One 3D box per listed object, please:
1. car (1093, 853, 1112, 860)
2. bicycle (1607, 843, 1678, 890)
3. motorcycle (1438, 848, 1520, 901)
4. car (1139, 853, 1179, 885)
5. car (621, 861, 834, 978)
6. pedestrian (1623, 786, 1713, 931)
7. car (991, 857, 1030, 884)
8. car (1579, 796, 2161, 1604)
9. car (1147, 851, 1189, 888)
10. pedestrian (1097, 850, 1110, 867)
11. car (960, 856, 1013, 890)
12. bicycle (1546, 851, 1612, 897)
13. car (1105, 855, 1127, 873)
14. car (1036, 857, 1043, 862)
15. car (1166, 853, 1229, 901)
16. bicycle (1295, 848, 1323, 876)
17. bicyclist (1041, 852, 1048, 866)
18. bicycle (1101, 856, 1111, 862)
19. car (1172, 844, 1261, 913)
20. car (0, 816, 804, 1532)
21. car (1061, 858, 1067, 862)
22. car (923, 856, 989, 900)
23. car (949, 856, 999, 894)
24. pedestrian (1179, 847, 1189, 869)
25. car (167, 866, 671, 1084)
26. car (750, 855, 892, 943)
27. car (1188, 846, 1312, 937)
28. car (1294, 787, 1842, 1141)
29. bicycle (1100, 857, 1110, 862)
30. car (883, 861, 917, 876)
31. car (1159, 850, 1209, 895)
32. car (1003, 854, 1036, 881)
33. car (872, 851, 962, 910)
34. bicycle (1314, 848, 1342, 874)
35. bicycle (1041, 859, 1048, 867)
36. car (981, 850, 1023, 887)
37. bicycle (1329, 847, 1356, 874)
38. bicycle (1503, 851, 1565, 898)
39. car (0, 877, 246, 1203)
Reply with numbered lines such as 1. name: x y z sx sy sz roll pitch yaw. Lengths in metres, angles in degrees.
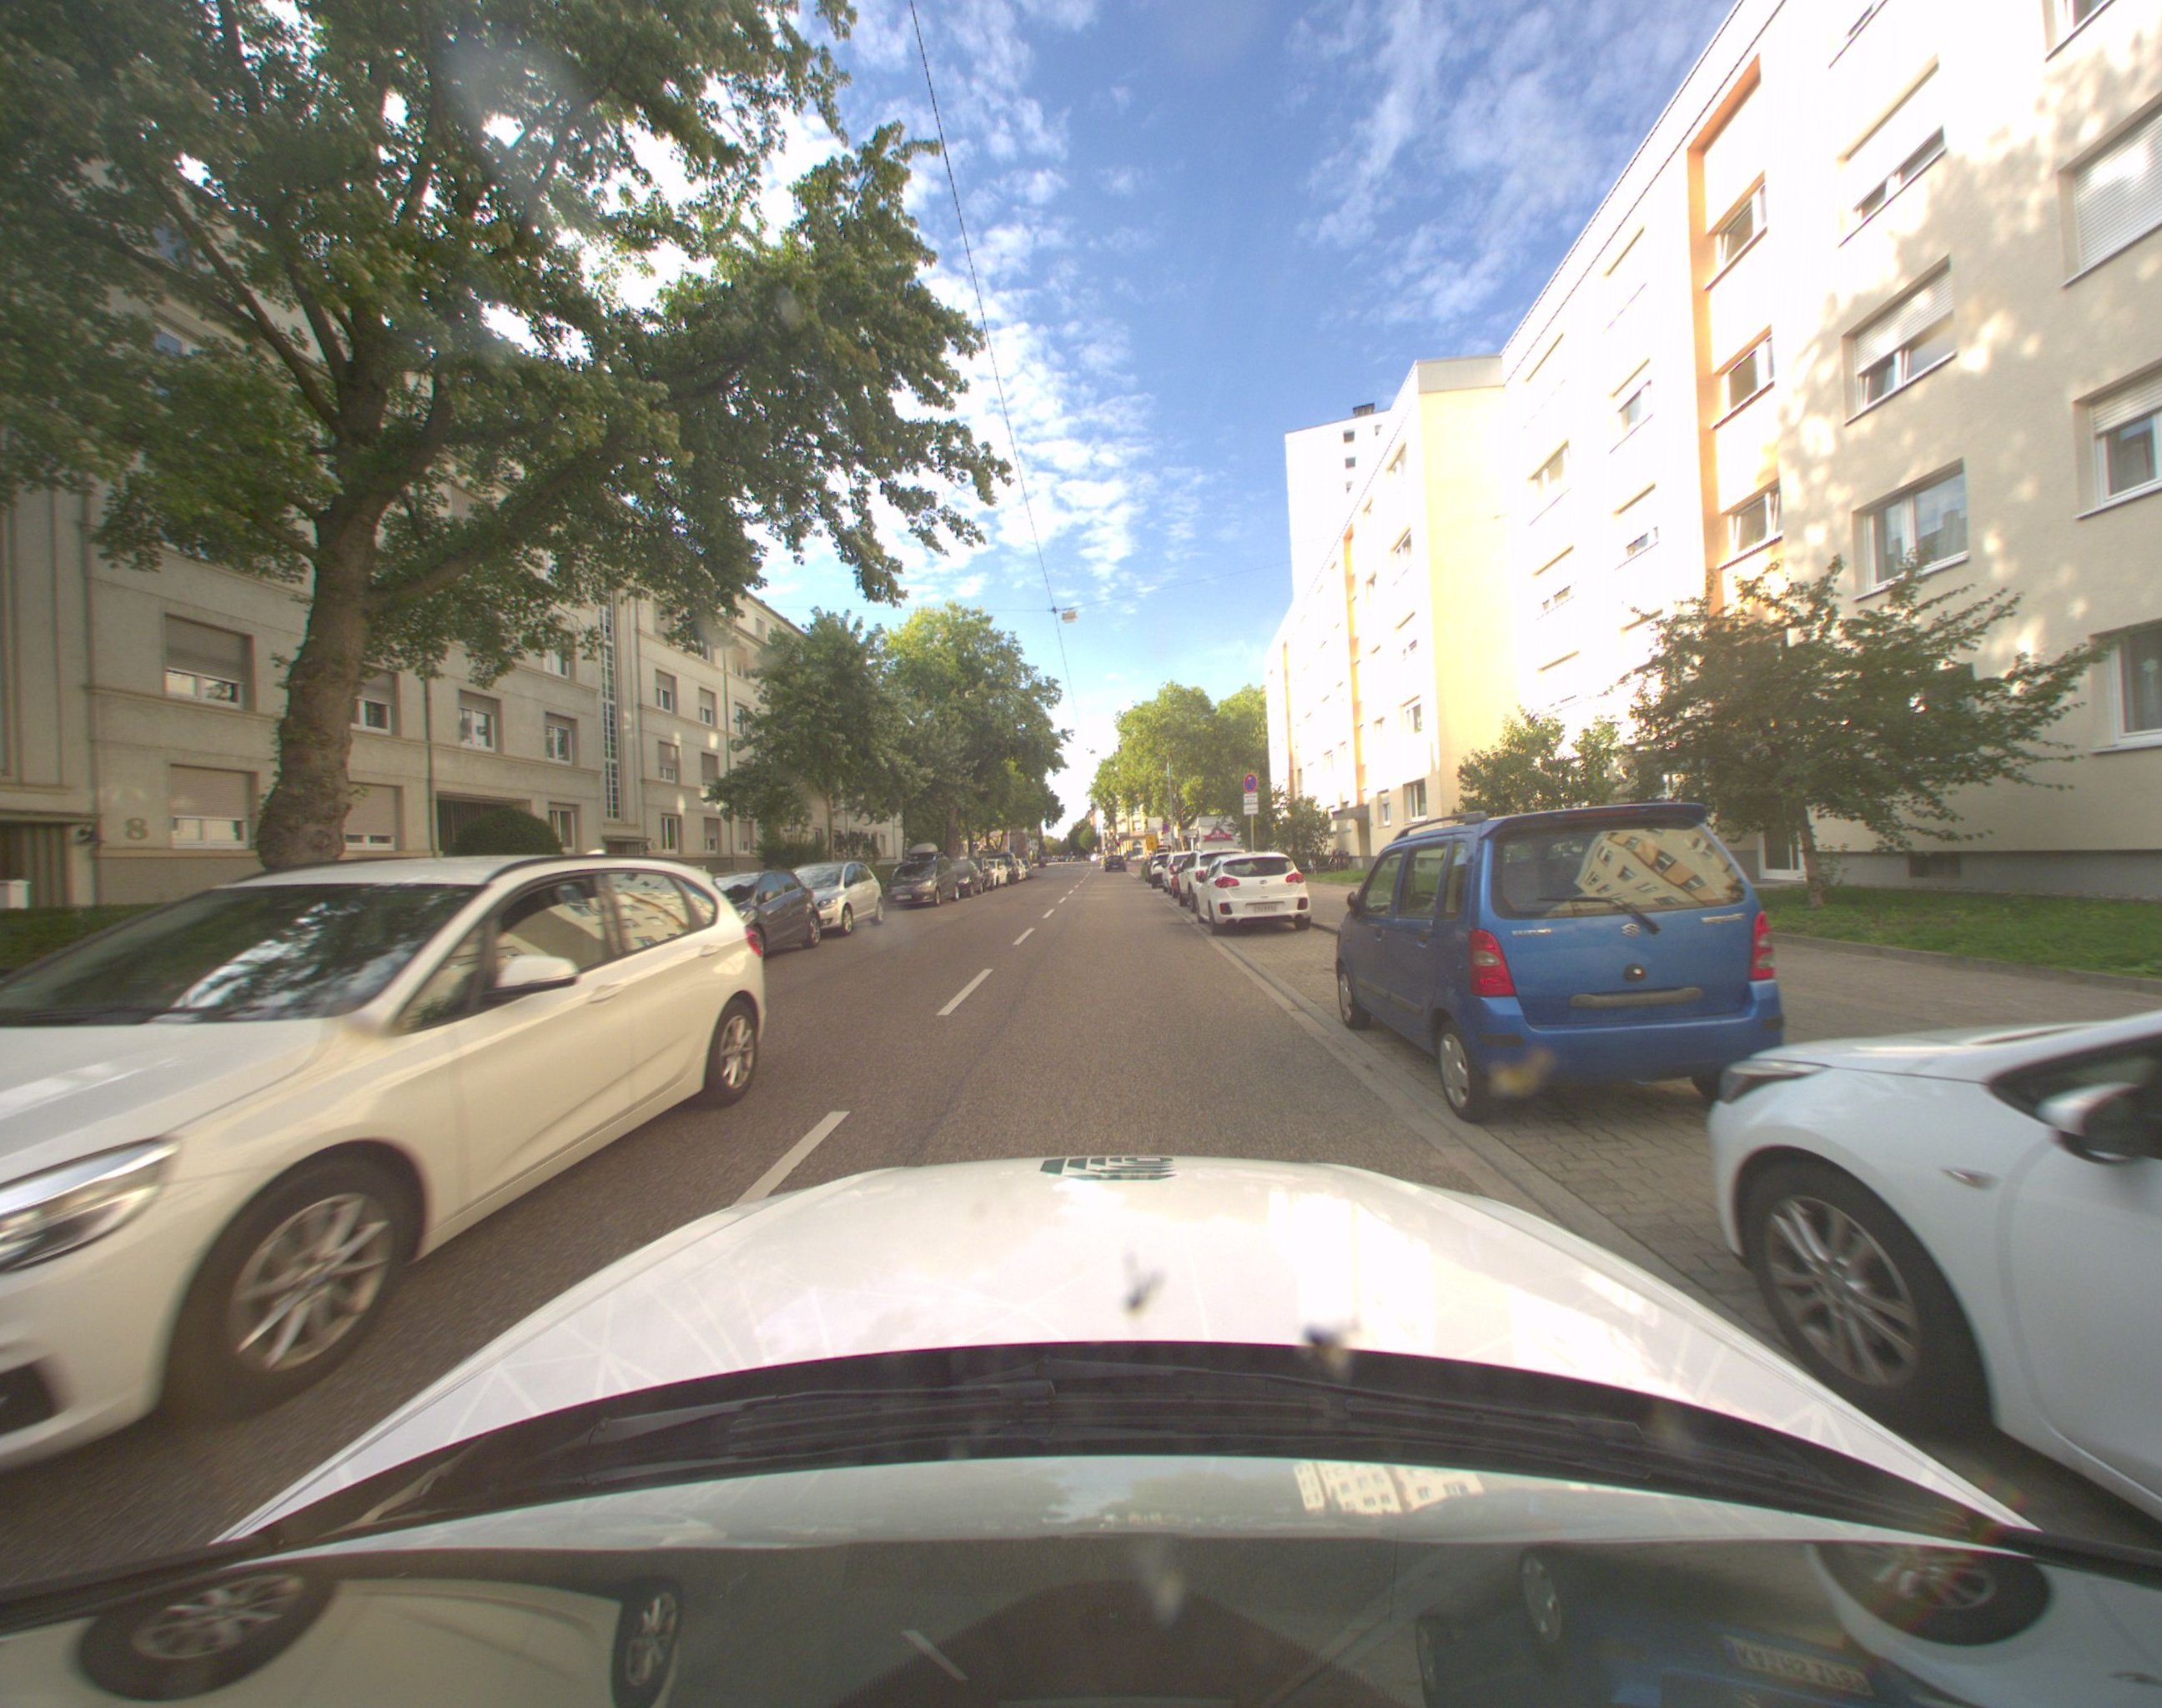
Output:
1. car: 4.710 0.610 177.627 3.981 1.420 1.996 -3 0 -5
2. bicycle: 12.043 0.260 17.503 0.457 0.927 1.517 -3 0 1
3. motorcycle: 8.766 0.427 18.048 0.628 1.044 2.394 -4 0 1
4. car: 4.056 0.736 42.848 1.684 1.528 4.238 -3 0 1
5. car: -5.458 0.918 13.190 1.609 1.468 4.013 -4 0 0
6. pedestrian: 7.280 0.053 10.131 0.539 1.721 0.773 -3 0 7
7. car: -4.424 1.015 51.689 1.792 1.493 3.806 -5 0 3
8. car: 2.766 0.578 1.060 1.722 1.461 4.118 -3 0 1
9. car: 3.857 0.657 36.648 1.682 1.528 4.243 -2 0 5
10. pedestrian: 2.412 0.497 86.670 1.076 1.753 0.914 -1 0 -15
11. car: -4.709 0.920 41.199 1.686 1.493 4.339 -4 0 5
12. bicycle: 10.608 0.413 17.409 0.457 0.927 1.517 -3 0 1
13. car: 2.944 0.835 69.380 1.745 1.413 4.001 -2 0 1
14. car: -11.357 1.470 222.117 1.545 1.230 3.588 -1 0 1
15. car: 3.787 0.721 27.033 1.510 1.398 3.676 -3 0 0
16. bicycle: 10.314 0.348 36.891 0.595 1.187 2.210 -5 0 2
17. bicyclist: -4.529 0.605 100.637 0.810 1.691 1.111 -2 0 -5
18. bicycle: 5.283 1.113 175.270 2.024 1.082 0.618 -3 0 -12
19. car: 3.544 0.615 21.952 1.722 1.580 4.118 -3 0 1
20. car: -3.017 0.713 3.778 1.851 1.528 4.014 -2 0 3
21. car: -5.240 1.910 255.119 1.772 1.230 3.588 -1 0 1
22. car: -4.886 0.919 32.274 1.693 1.487 3.851 -5 0 3
23. car: -4.792 0.908 36.809 1.546 1.520 3.019 -5 0 3
24. pedestrian: 7.830 0.293 62.002 0.650 1.645 0.743 -2 0 2
25. car: -5.862 0.915 7.976 1.595 1.418 3.963 -5 0 -1
26. car: -5.588 0.897 18.056 1.733 1.620 3.995 -4 0 1
27. car: 3.238 0.663 16.459 1.721 1.487 4.645 -3 0 3
28. car: 2.921 0.552 6.064 1.721 1.649 4.120 -3 0 3
29. bicycle: 5.262 1.174 175.901 2.024 1.082 0.628 -3 0 -12
30. car: -19.170 1.512 86.312 1.577 1.477 3.727 -2 0 23
31. car: 3.866 0.647 30.917 1.545 1.557 3.470 -2 0 3
32. car: -4.208 0.912 56.263 1.793 1.620 3.803 -5 0 0
33. car: -5.384 0.818 27.346 1.792 1.668 4.486 -5 0 3
34. bicycle: 11.124 0.317 36.687 0.594 1.115 2.210 -4 0 2
35. bicycle: -4.524 1.141 100.592 0.759 0.994 1.925 -2 0 -2
36. car: -4.441 0.771 46.479 1.716 1.882 4.193 -4 0 2
37. bicycle: 11.741 0.285 36.664 0.527 1.115 2.210 -3 0 2
38. bicycle: 9.654 0.414 17.398 0.457 0.941 1.517 -3 0 1
39. car: -5.999 0.960 2.624 1.677 1.480 4.457 -6 0 5
